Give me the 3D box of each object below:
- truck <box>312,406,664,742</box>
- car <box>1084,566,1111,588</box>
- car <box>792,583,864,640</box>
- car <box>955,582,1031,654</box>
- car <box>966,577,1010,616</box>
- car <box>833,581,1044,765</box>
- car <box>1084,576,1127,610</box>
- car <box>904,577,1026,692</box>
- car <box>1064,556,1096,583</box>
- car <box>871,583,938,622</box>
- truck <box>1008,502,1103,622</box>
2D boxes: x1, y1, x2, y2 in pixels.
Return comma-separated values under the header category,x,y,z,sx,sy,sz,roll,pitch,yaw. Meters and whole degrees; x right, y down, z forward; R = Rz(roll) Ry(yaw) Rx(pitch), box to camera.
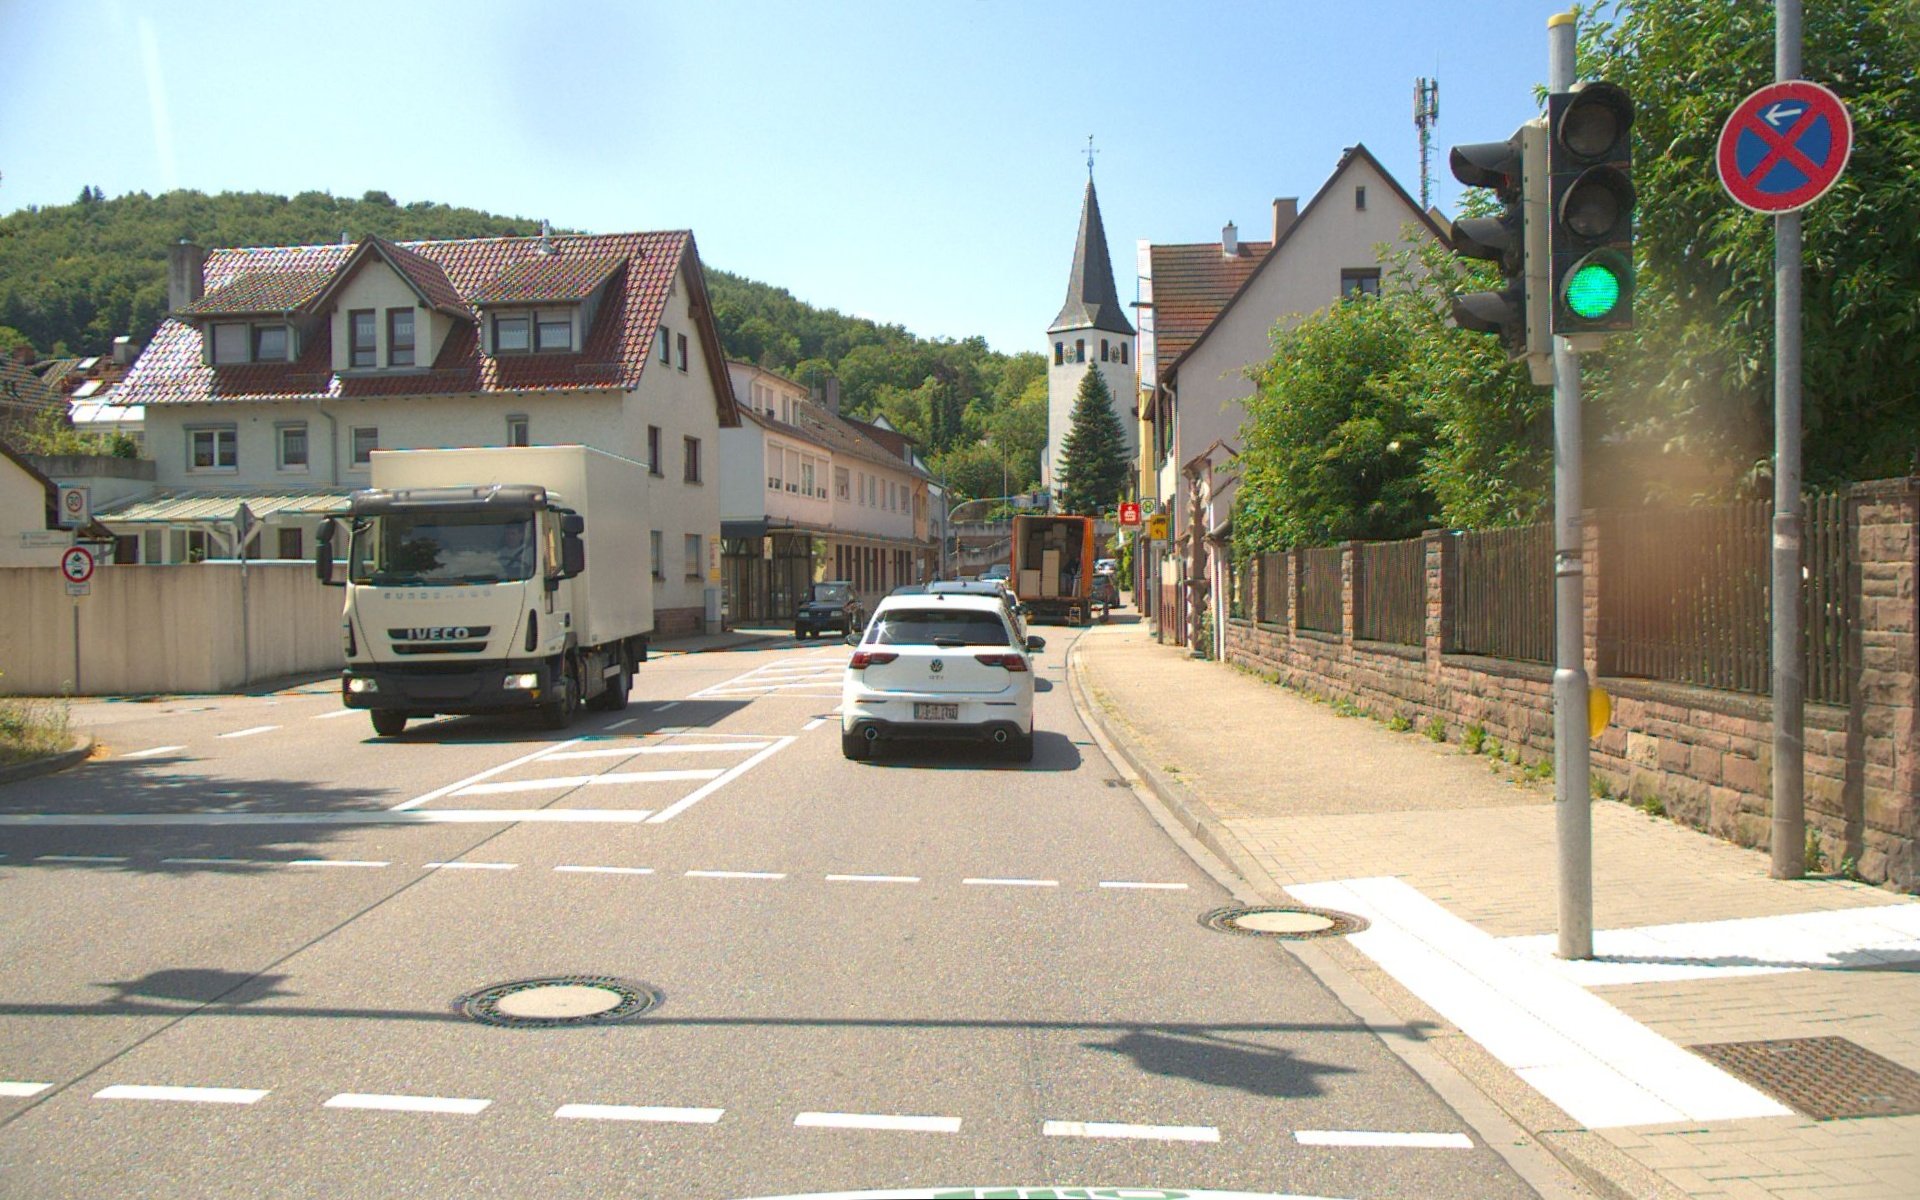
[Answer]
category,x,y,z,sx,sy,sz,roll,pitch,yaw
truck,-5.278,-0.258,19.626,2.451,3.292,6.038,-2,0,-1
car,10.370,-1.744,124.735,1.777,1.545,4.001,-2,0,1
car,-4.015,0.318,50.861,1.702,1.680,3.670,-1,0,3
car,0.836,0.428,41.331,1.777,1.657,4.001,-2,0,1
car,1.207,-0.153,70.132,1.777,1.545,4.001,-2,0,1
car,-0.134,0.618,15.997,1.777,1.545,4.001,0,0,1
car,7.023,-0.326,79.887,1.777,1.545,4.001,-2,0,1
car,0.129,0.522,26.696,1.777,1.657,4.001,-2,0,1
car,7.325,-1.842,101.212,1.777,1.545,4.001,-2,0,1
car,-2.183,0.100,66.092,1.823,1.467,4.221,-2,0,10
truck,3.774,-1.369,64.715,3.296,4.243,9.523,-2,0,4
